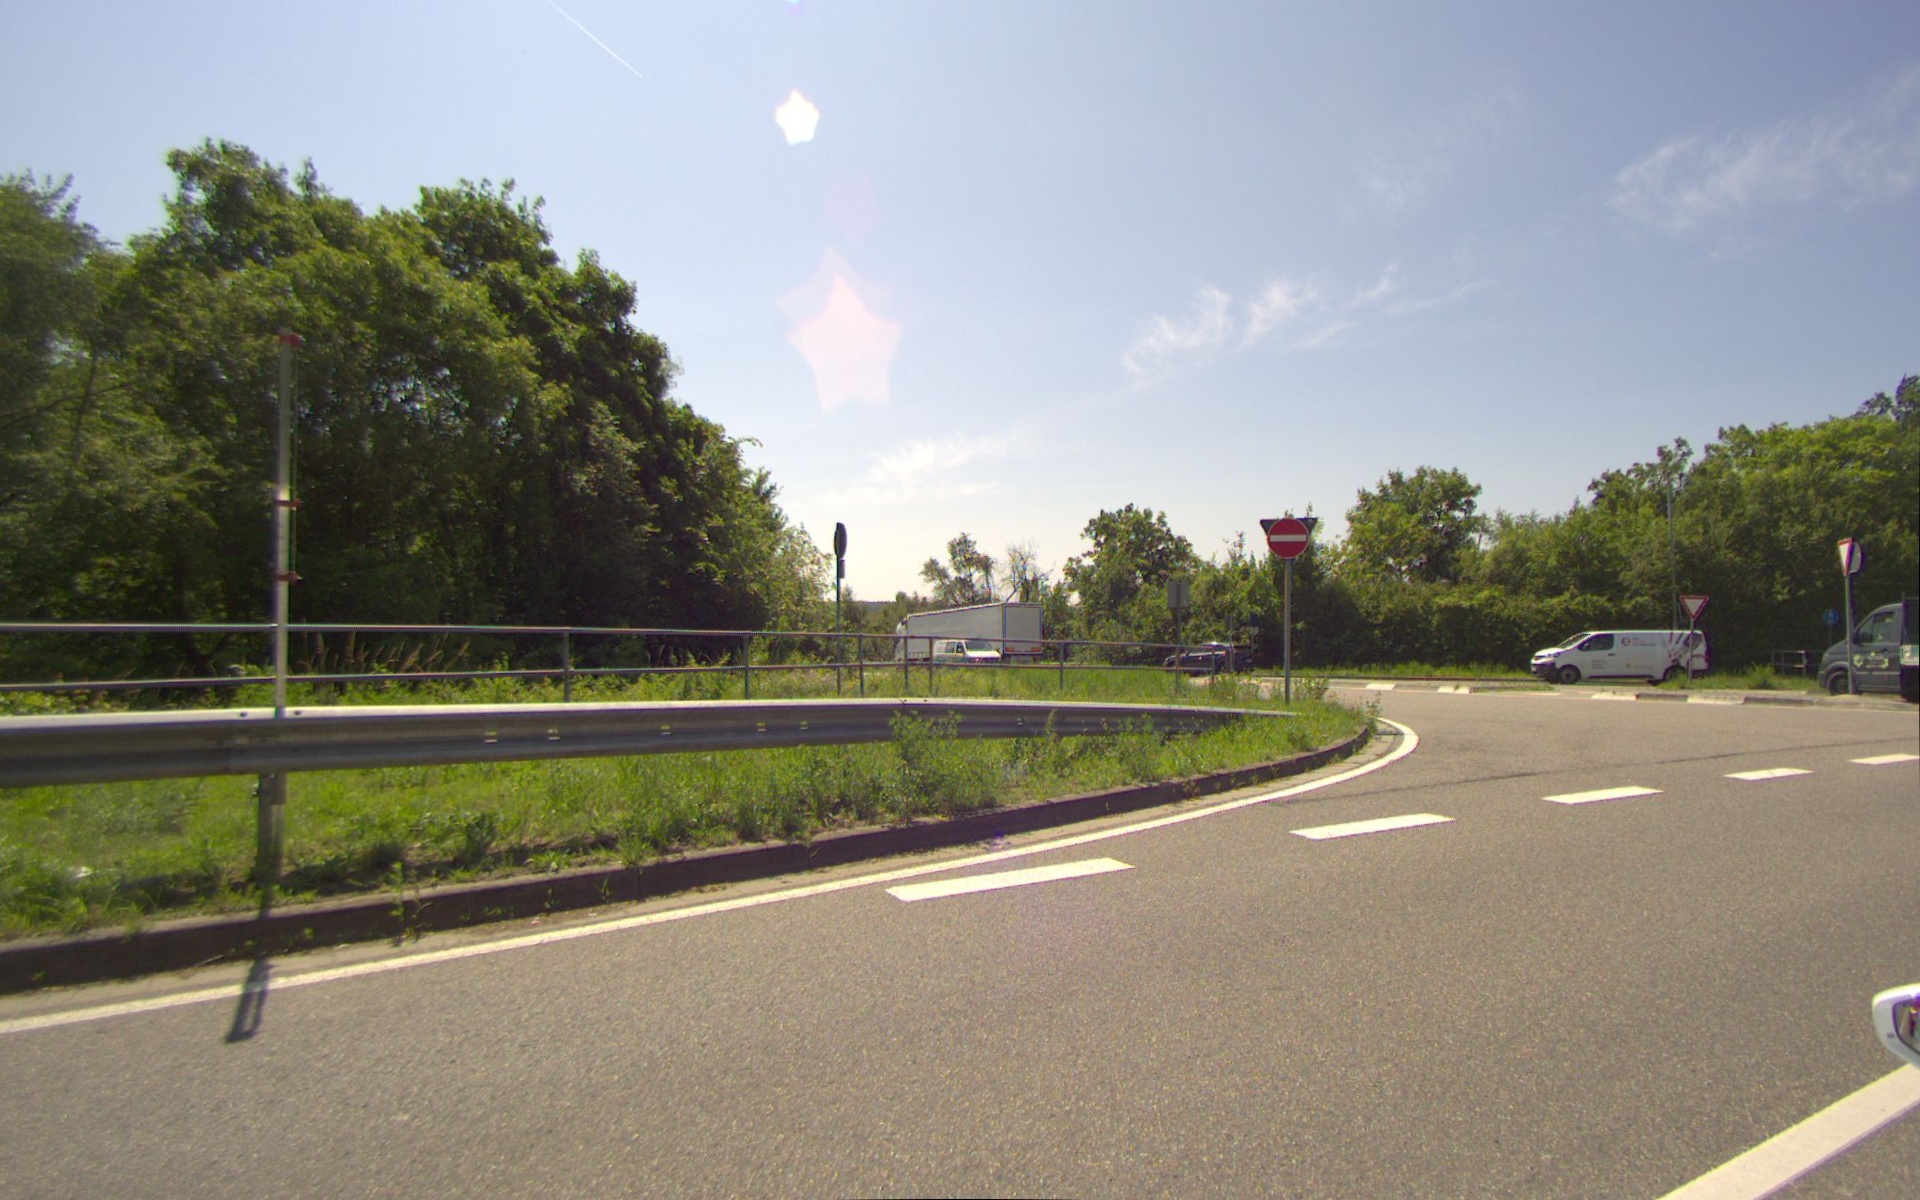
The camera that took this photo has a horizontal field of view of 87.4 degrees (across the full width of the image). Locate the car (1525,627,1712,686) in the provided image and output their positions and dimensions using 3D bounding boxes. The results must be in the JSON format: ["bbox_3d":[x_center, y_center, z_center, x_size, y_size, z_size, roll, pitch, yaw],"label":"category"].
[{"bbox_3d":[23.026,1.976,35.368,5.090,1.949,2.017,-1,-1,15],"label":"car"}]

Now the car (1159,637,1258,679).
[{"bbox_3d":[10.956,2.541,44.385,3.866,1.617,1.763,1,0,37],"label":"car"}]

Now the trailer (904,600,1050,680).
[{"bbox_3d":[0.659,2.564,61.510,2.960,4.331,13.702,1,-3,-26],"label":"trailer"}]

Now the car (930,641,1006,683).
[{"bbox_3d":[0.353,3.161,51.256,1.972,2.054,5.160,1,-4,-23],"label":"car"}]

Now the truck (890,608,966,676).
[{"bbox_3d":[-2.240,2.889,67.442,2.960,4.331,5.890,1,-3,-27],"label":"truck"}]

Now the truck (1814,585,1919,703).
[{"bbox_3d":[22.039,0.972,21.458,2.103,2.599,6.641,1,-1,2],"label":"truck"}]
